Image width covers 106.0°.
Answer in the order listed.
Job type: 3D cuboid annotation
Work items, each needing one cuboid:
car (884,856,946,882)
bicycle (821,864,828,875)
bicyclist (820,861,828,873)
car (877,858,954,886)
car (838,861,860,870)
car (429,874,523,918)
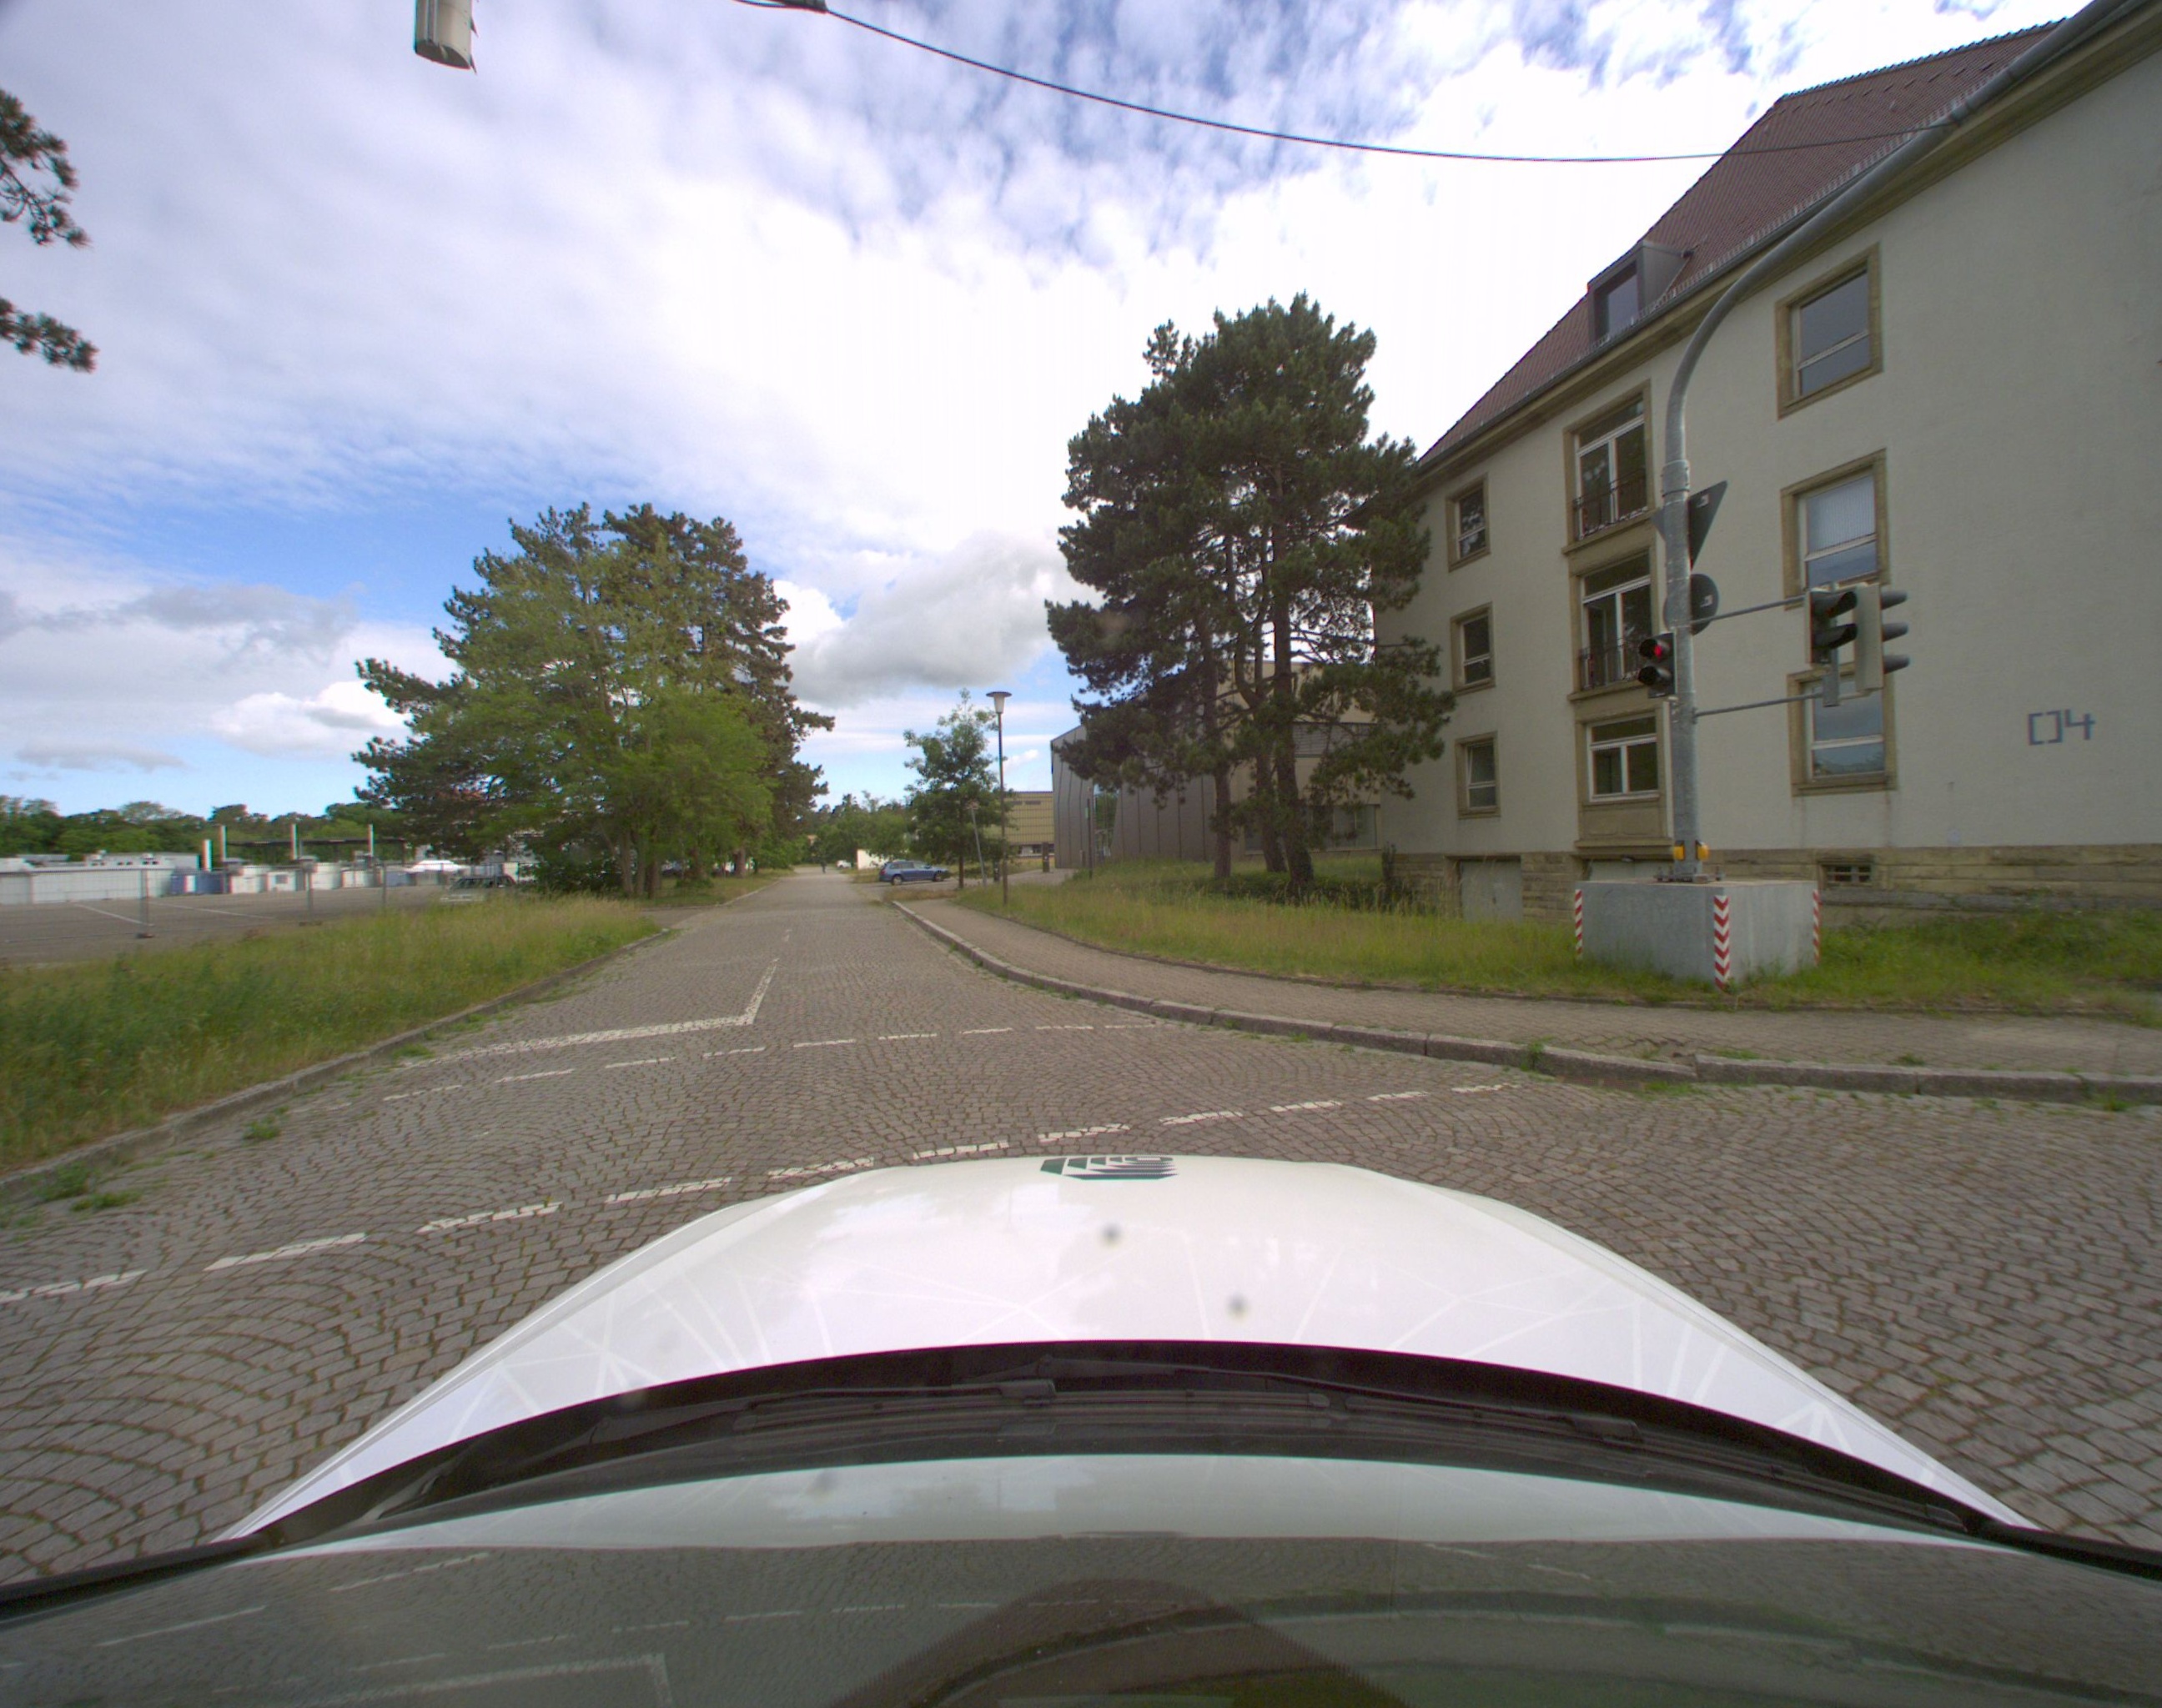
[{"bbox_3d":[-12.105,1.093,59.231,4.122,1.572,1.753,-4,1,-21],"label":"car"},{"bbox_3d":[-34.123,2.067,108.171,0.826,1.376,2.029,-2,1,-19],"label":"bicycle"},{"bbox_3d":[-34.127,1.714,108.158,0.900,1.542,0.862,-2,1,-19],"label":"bicyclist"},{"bbox_3d":[-10.561,1.125,51.936,4.497,1.462,1.921,-4,1,-21],"label":"car"},{"bbox_3d":[-47.095,2.285,165.275,4.332,1.549,1.989,-2,0,-17],"label":"car"},{"bbox_3d":[-23.699,1.595,32.077,1.735,1.432,4.135,-2,1,-19],"label":"car"}]
